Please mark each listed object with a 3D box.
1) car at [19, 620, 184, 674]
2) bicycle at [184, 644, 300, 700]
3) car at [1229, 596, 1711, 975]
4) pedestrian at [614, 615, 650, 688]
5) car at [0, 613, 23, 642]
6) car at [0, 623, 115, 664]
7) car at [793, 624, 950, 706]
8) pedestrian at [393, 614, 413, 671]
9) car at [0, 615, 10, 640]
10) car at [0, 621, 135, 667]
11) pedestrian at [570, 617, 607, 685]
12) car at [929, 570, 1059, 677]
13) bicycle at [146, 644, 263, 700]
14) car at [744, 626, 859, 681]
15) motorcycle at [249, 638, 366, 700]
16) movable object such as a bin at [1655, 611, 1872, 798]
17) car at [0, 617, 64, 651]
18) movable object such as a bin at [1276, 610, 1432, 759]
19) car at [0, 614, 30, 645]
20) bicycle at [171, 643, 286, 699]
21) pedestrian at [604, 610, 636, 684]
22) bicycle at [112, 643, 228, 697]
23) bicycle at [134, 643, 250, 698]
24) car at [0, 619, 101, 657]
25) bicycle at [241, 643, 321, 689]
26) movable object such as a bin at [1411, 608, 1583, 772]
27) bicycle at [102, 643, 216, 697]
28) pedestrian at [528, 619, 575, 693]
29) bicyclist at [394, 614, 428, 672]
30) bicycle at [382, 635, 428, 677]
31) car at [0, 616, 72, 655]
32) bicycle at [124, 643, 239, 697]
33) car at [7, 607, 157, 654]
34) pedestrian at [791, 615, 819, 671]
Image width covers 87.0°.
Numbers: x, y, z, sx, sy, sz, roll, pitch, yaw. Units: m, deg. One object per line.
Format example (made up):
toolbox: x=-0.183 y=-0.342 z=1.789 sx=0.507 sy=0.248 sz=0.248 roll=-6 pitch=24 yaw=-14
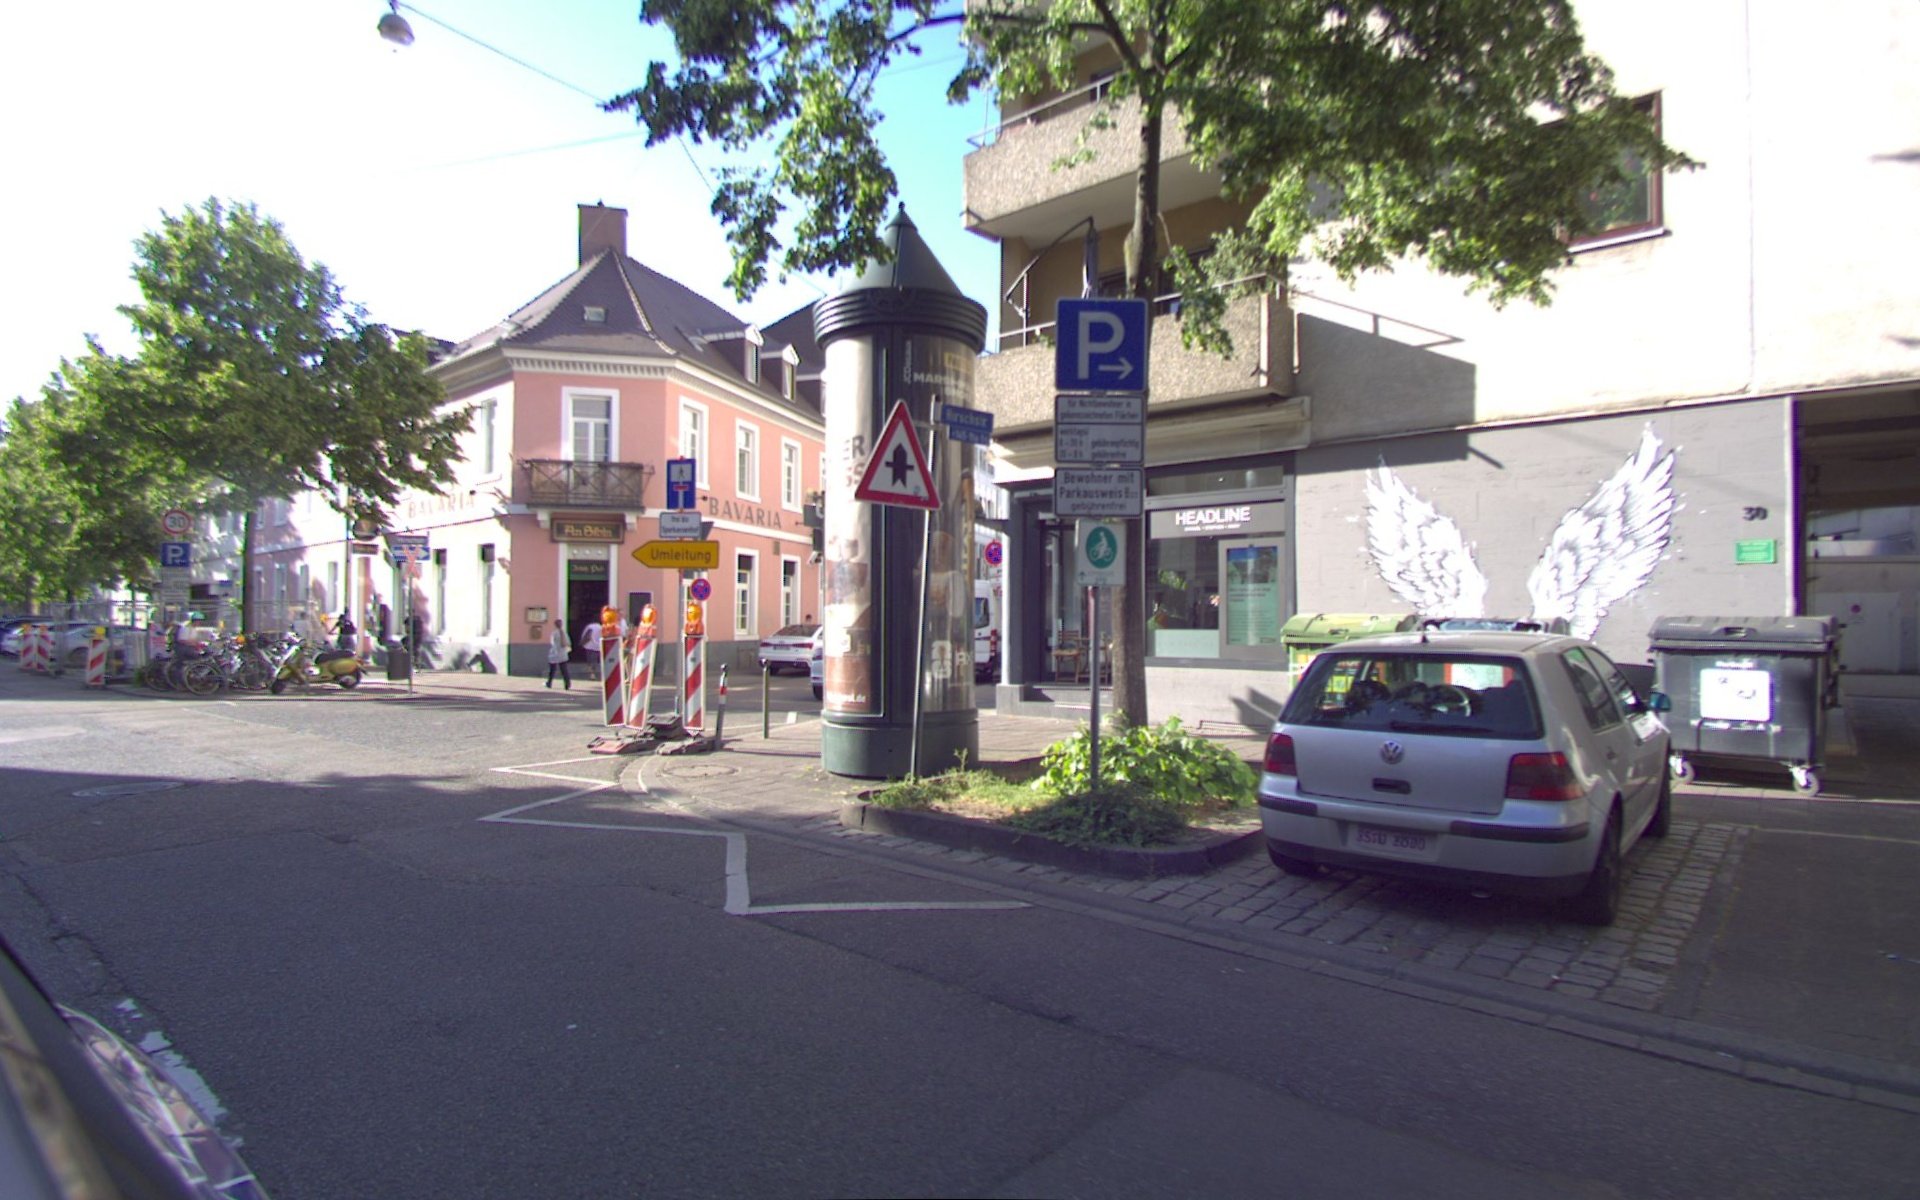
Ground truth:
car: x=-29.552 y=1.560 z=34.939 sx=1.998 sy=1.693 sz=4.082 roll=-1 pitch=-1 yaw=40
bicycle: x=-15.162 y=1.500 z=21.435 sx=0.471 sy=1.037 sz=1.987 roll=-1 pitch=0 yaw=28
car: x=3.353 y=0.755 z=6.222 sx=1.748 sy=1.475 sz=3.957 roll=1 pitch=2 yaw=41
pedestrian: x=-7.969 y=1.244 z=24.621 sx=0.579 sy=1.740 sz=0.622 roll=-2 pitch=-2 yaw=38
car: x=-61.824 y=1.753 z=63.613 sx=1.910 sy=1.816 sz=4.082 roll=-1 pitch=-1 yaw=40
car: x=-39.472 y=1.853 z=43.871 sx=1.910 sy=1.606 sz=4.082 roll=-1 pitch=-1 yaw=40
car: x=-1.677 y=1.227 z=20.349 sx=1.889 sy=1.488 sz=3.580 roll=-1 pitch=-1 yaw=18
pedestrian: x=-17.200 y=1.290 z=31.236 sx=0.509 sy=1.740 sz=0.526 roll=1 pitch=-2 yaw=-32
car: x=-71.340 y=2.028 z=72.915 sx=1.910 sy=1.816 sz=4.082 roll=-1 pitch=-1 yaw=40
car: x=-35.533 y=1.701 z=40.134 sx=1.998 sy=1.693 sz=4.082 roll=-1 pitch=-1 yaw=40
pedestrian: x=-9.327 y=1.276 z=25.450 sx=0.698 sy=1.675 sz=0.579 roll=0 pitch=-1 yaw=4
car: x=1.119 y=0.657 z=28.080 sx=2.204 sy=2.601 sz=6.475 roll=-1 pitch=-1 yaw=15
bicycle: x=-16.177 y=1.514 z=21.724 sx=0.471 sy=1.037 sz=1.987 roll=-1 pitch=0 yaw=28
car: x=-4.560 y=1.516 z=29.543 sx=1.983 sy=1.488 sz=3.583 roll=-1 pitch=-1 yaw=17
motorcycle: x=-13.870 y=1.437 z=21.556 sx=0.740 sy=1.194 sz=1.977 roll=-2 pitch=-1 yaw=43
movable object such as a bin: x=6.798 y=0.818 z=8.579 sx=1.351 sy=1.426 sz=1.066 roll=-2 pitch=-2 yaw=42
car: x=-51.132 y=1.825 z=54.535 sx=1.910 sy=1.816 sz=4.082 roll=-1 pitch=-1 yaw=40
movable object such as a bin: x=4.198 y=0.856 z=10.799 sx=1.258 sy=1.471 sz=1.022 roll=-2 pitch=-2 yaw=42
car: x=-58.584 y=1.772 z=60.601 sx=1.910 sy=1.816 sz=4.082 roll=-1 pitch=-1 yaw=40
bicycle: x=-15.637 y=1.496 z=21.682 sx=0.471 sy=1.037 sz=1.987 roll=-1 pitch=0 yaw=28
pedestrian: x=-8.490 y=1.175 z=25.275 sx=0.572 sy=1.826 sz=0.630 roll=0 pitch=-1 yaw=2
bicycle: x=-17.444 y=1.514 z=22.404 sx=0.471 sy=1.037 sz=1.987 roll=-1 pitch=0 yaw=28
bicycle: x=-16.624 y=1.493 z=21.956 sx=0.471 sy=1.037 sz=1.987 roll=-1 pitch=0 yaw=28
car: x=-41.570 y=1.700 z=45.633 sx=1.910 sy=1.606 sz=4.082 roll=-1 pitch=-1 yaw=40
bicycle: x=-15.404 y=1.491 z=22.969 sx=1.493 sy=0.958 sz=0.360 roll=-1 pitch=0 yaw=-8
movable object such as a bin: x=5.246 y=0.830 z=9.899 sx=1.258 sy=1.471 sz=1.022 roll=-2 pitch=-2 yaw=42
bicycle: x=-17.885 y=1.541 z=22.654 sx=0.471 sy=1.037 sz=1.987 roll=-1 pitch=0 yaw=28
pedestrian: x=-9.208 y=1.250 z=22.819 sx=0.862 sy=1.614 sz=0.641 roll=-2 pitch=-1 yaw=41
bicyclist: x=-14.863 y=1.149 z=27.391 sx=0.751 sy=1.515 sz=0.563 roll=1 pitch=0 yaw=41
bicycle: x=-15.186 y=1.519 z=27.664 sx=1.651 sy=1.096 sz=0.563 roll=-3 pitch=-3 yaw=41
car: x=-45.715 y=1.696 z=48.821 sx=1.910 sy=1.816 sz=4.082 roll=-1 pitch=-1 yaw=40
bicycle: x=-17.004 y=1.501 z=22.161 sx=0.471 sy=1.037 sz=1.987 roll=-1 pitch=0 yaw=28
car: x=-33.539 y=1.131 z=38.738 sx=1.998 sy=1.693 sz=4.082 roll=-1 pitch=-1 yaw=40
pedestrian: x=-4.970 y=1.380 z=32.495 sx=0.701 sy=1.764 sz=0.631 roll=-1 pitch=-2 yaw=18
